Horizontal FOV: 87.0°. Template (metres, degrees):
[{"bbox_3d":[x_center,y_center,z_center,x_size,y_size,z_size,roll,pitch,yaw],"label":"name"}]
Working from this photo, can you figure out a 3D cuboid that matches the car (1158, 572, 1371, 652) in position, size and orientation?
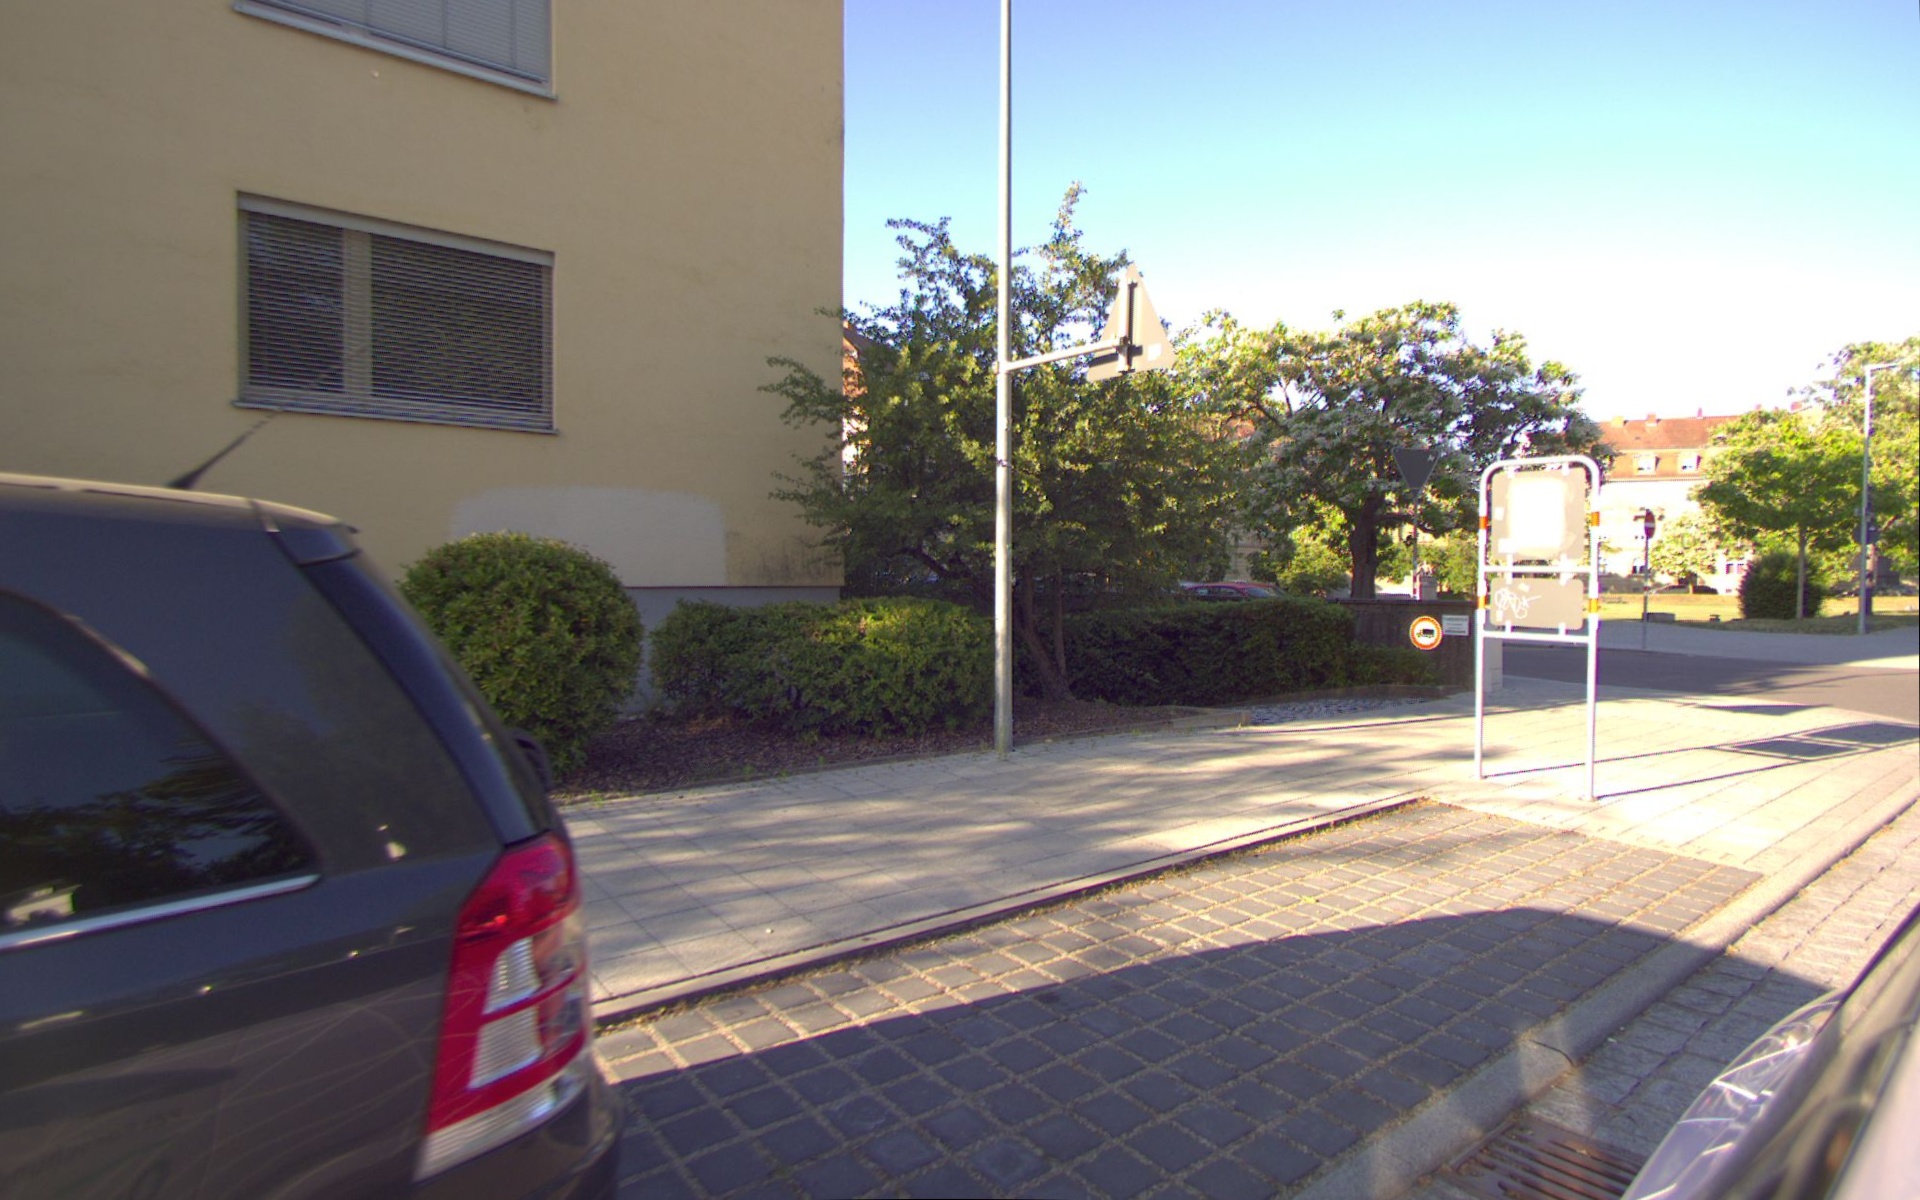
[{"bbox_3d":[6.242,0.206,21.159,1.756,1.437,4.047,-3,2,-34],"label":"car"}]

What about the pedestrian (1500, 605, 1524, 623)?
[{"bbox_3d":[24.811,0.613,45.496,0.795,0.774,0.498,1,0,1],"label":"pedestrian"}]

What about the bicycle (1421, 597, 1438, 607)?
[{"bbox_3d":[30.766,0.126,66.304,0.892,0.660,0.437,-1,0,13],"label":"bicycle"}]

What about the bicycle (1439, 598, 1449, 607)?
[{"bbox_3d":[31.572,0.155,65.974,0.480,0.590,0.437,-1,0,13],"label":"bicycle"}]

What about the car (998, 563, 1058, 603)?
[{"bbox_3d":[2.962,-0.719,44.836,1.690,1.648,3.711,1,0,-11],"label":"car"}]

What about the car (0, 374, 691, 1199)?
[{"bbox_3d":[-2.471,0.594,0.682,4.094,1.630,1.714,-1,3,-40],"label":"car"}]

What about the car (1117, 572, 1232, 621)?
[{"bbox_3d":[6.763,-0.092,32.299,1.690,1.445,4.008,1,0,-21],"label":"car"}]

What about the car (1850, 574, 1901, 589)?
[{"bbox_3d":[93.755,-1.865,103.689,3.679,1.517,1.705,0,0,34],"label":"car"}]

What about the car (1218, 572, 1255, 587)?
[{"bbox_3d":[28.887,-2.107,105.729,3.631,1.518,1.727,1,0,-32],"label":"car"}]
